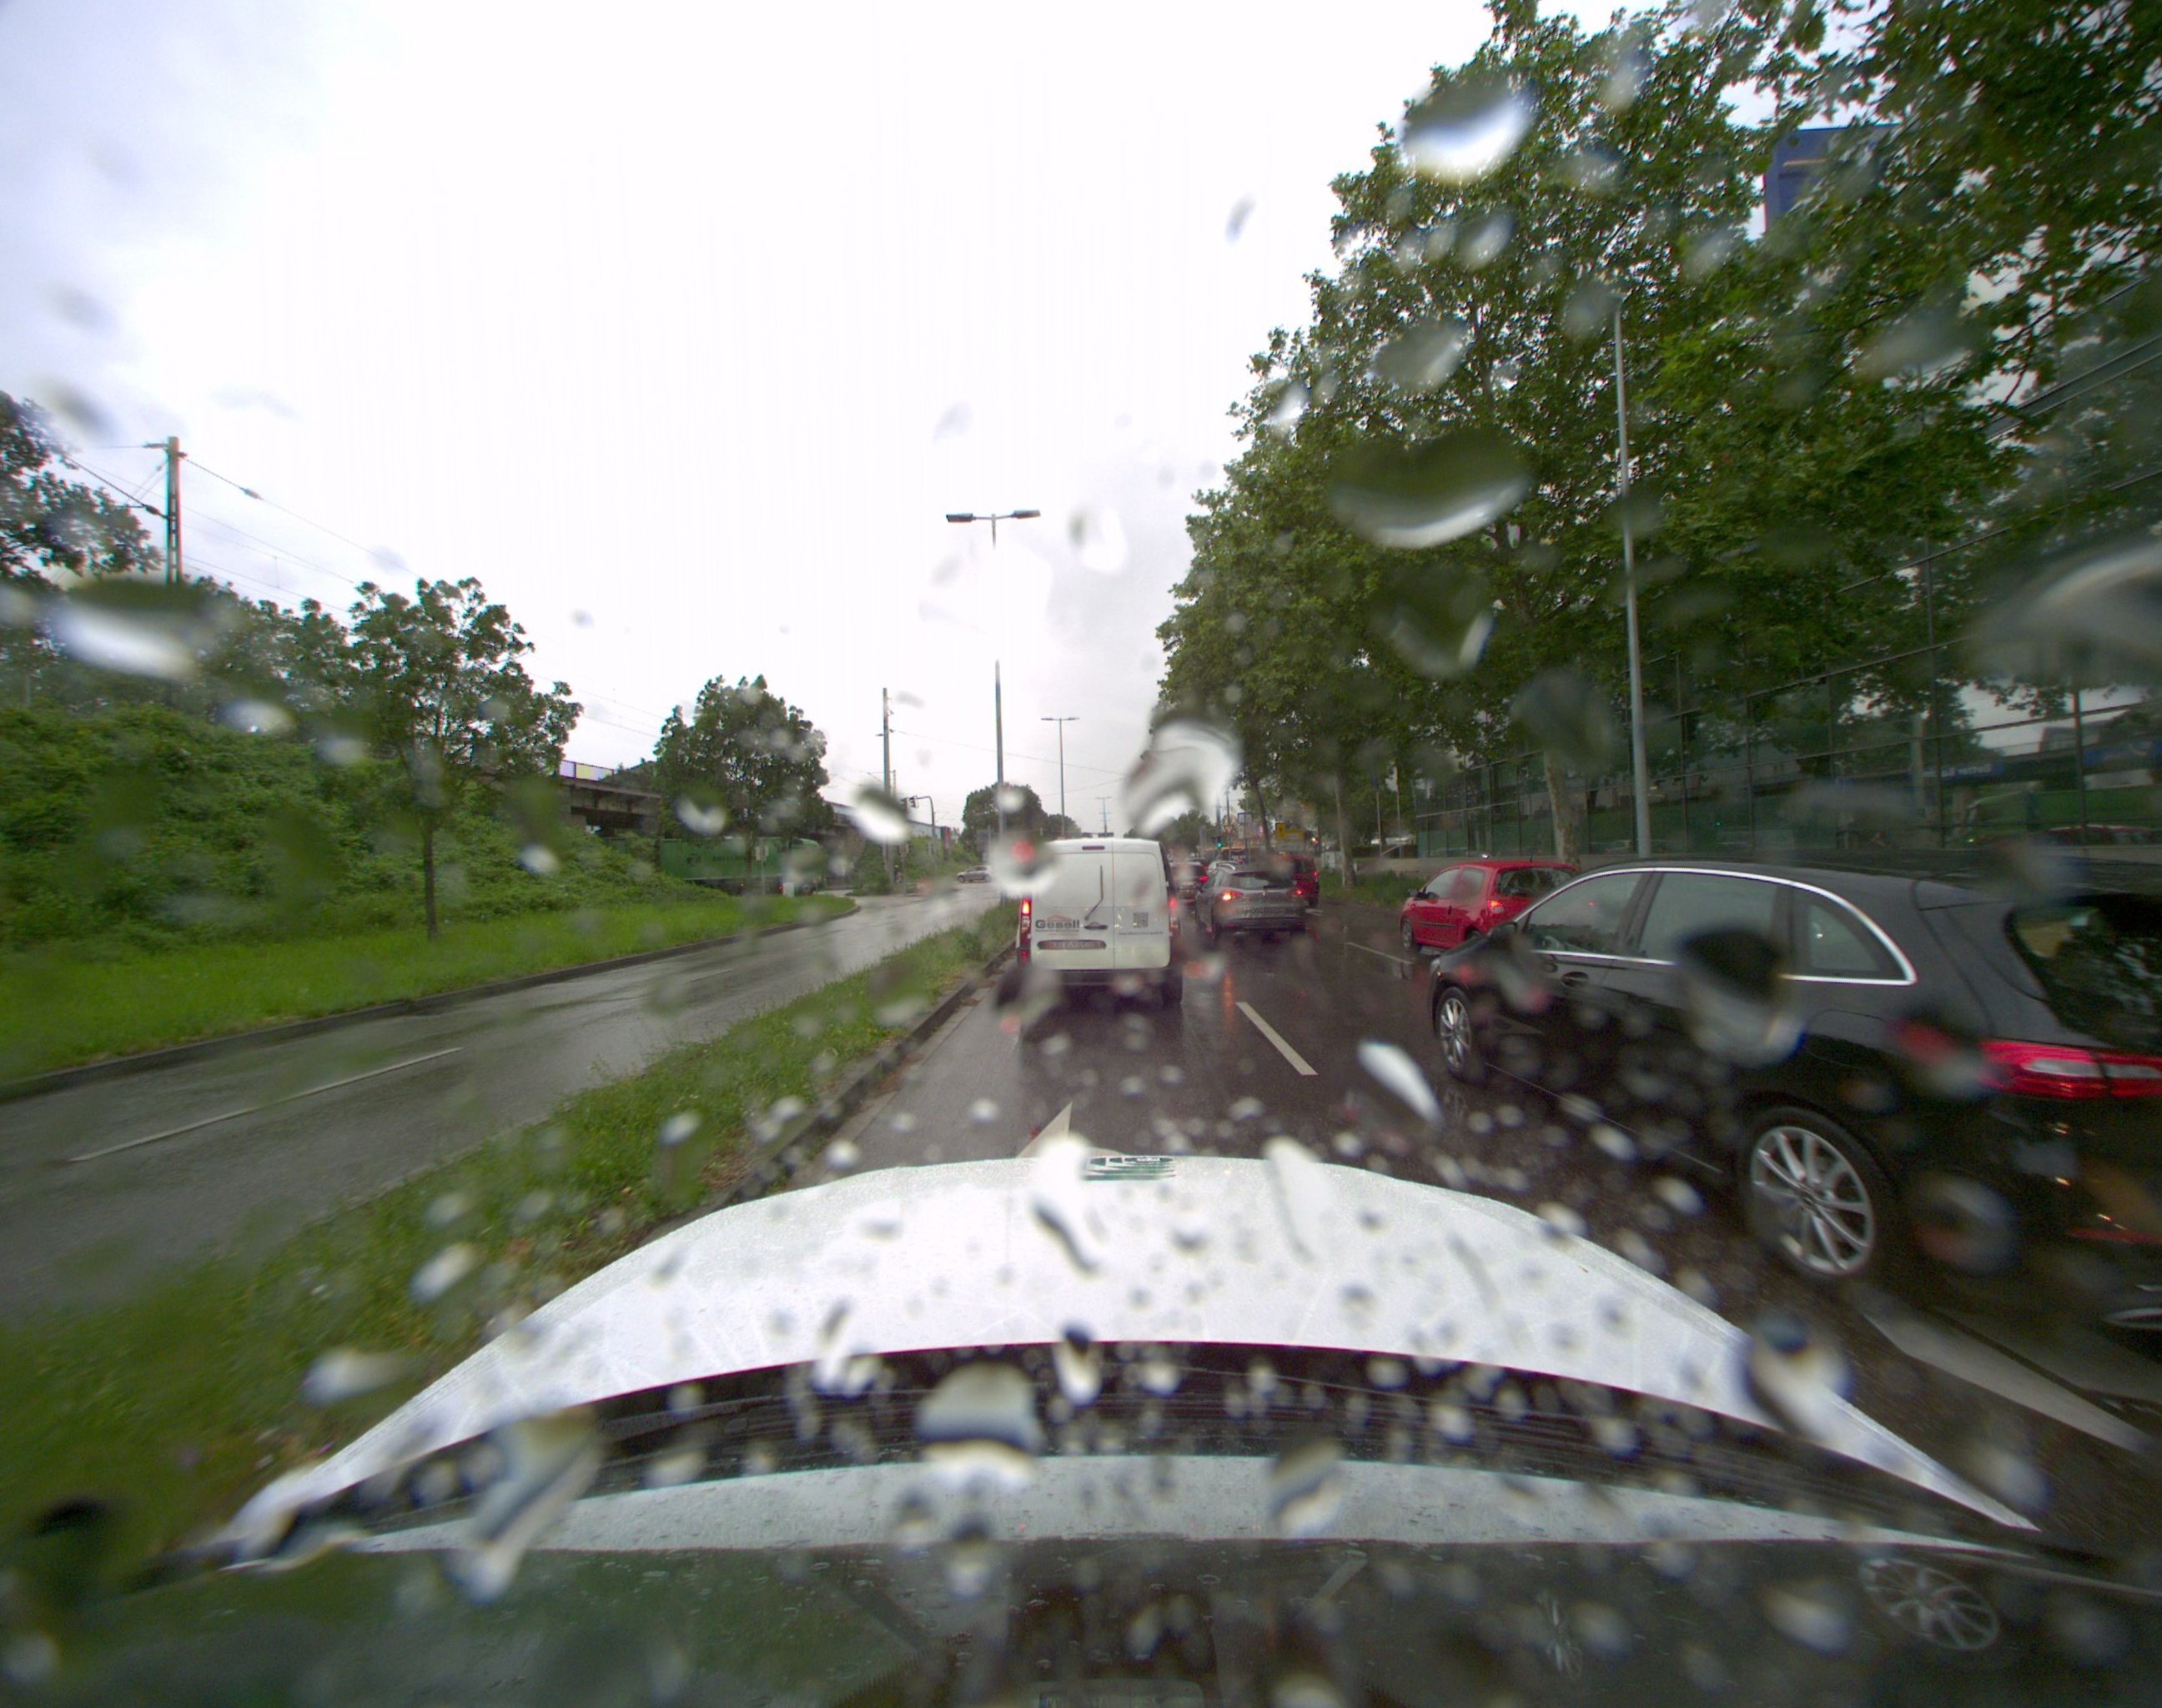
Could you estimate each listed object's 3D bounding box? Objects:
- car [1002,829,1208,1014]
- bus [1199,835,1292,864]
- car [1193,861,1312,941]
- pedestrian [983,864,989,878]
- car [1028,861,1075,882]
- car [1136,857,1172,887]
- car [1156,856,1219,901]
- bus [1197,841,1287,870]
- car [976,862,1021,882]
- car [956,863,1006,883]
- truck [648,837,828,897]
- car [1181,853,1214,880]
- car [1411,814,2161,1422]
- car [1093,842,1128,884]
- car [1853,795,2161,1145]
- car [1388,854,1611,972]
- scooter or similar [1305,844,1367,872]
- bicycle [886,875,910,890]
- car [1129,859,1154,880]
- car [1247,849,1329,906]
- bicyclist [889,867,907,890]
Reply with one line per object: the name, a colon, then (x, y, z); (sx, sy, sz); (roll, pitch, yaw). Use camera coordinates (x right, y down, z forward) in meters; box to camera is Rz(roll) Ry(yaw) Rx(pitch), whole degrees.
car: (0.307, 0.676, 10.313); (1.986, 1.776, 4.587); (-1, 0, 2)
bus: (22.039, -0.625, 109.226); (11.925, 3.423, 2.316); (-2, 0, 1)
car: (3.339, 0.859, 16.520); (1.677, 1.408, 3.843); (0, 0, 1)
pedestrian: (-11.103, 1.980, 95.234); (0.541, 1.716, 0.563); (0, -1, -2)
car: (-2.486, 1.495, 68.656); (1.809, 1.651, 4.143); (-1, -1, -40)
car: (4.254, 1.015, 47.619); (1.847, 1.650, 3.844); (-1, 0, 2)
car: (3.719, 0.828, 29.120); (1.847, 1.460, 3.844); (-1, 0, 2)
bus: (22.347, 0.212, 113.184); (11.939, 3.423, 2.481); (-2, 0, -2)
car: (-8.235, 1.790, 81.353); (3.958, 1.717, 2.008); (-3, -1, 14)
car: (-8.856, 1.675, 72.063); (3.780, 1.543, 2.012); (-4, -1, 25)
truck: (-21.245, 0.711, 50.985); (10.105, 3.371, 2.322); (-1, 0, -35)
car: (7.631, 0.798, 53.693); (1.701, 1.728, 3.844); (-1, 0, 2)
car: (3.354, 0.679, 4.141); (1.741, 1.554, 4.091); (-1, 0, 1)
car: (1.676, 0.505, 46.610); (1.847, 2.296, 3.844); (-1, 0, 2)
car: (6.024, 0.565, 3.461); (1.668, 1.685, 4.149); (0, 0, 2)
car: (5.916, 0.751, 11.976); (1.563, 1.463, 3.389); (-1, 0, 1)
scooter or similar: (23.541, 0.428, 75.311); (1.905, 2.446, 5.257); (-1, -1, -38)
bicycle: (-12.270, 1.891, 54.609); (1.045, 0.952, 2.866); (-2, 0, -22)
car: (4.933, 1.264, 66.725); (1.847, 1.650, 3.844); (-1, -1, 2)
car: (6.674, 0.751, 26.680); (1.704, 1.694, 4.273); (0, -1, 2)
bicyclist: (-12.242, 1.650, 54.534); (1.045, 1.450, 0.723); (-2, 0, -23)
